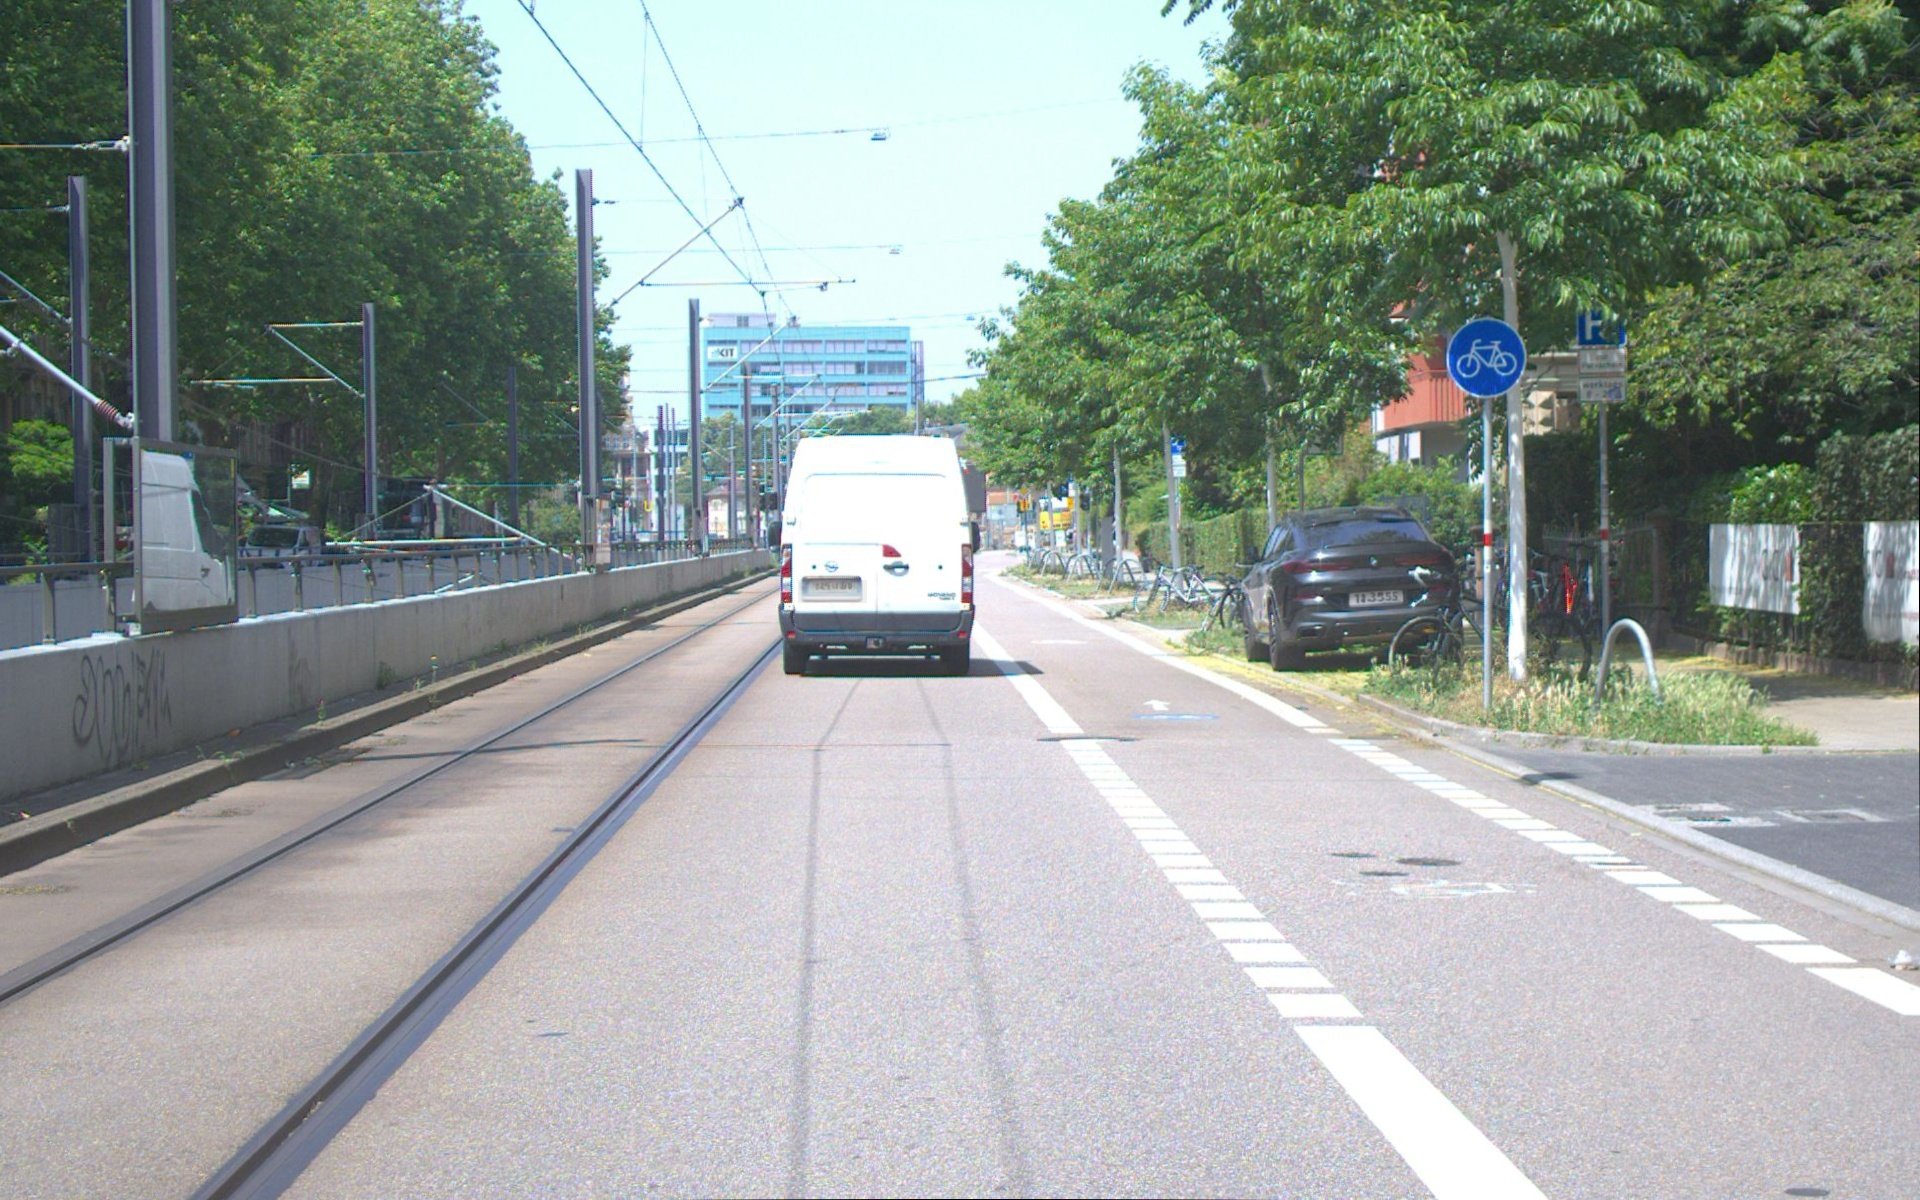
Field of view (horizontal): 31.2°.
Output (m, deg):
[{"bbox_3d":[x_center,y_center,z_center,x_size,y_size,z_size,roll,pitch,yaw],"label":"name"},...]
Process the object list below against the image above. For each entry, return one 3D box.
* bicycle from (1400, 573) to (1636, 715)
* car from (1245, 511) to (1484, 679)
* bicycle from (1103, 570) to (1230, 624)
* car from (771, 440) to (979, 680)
[{"bbox_3d":[4.719,0.366,29.136,1.887,1.178,0.640,0,1,-2],"label":"bicycle"},{"bbox_3d":[4.326,-0.092,37.347,2.157,1.664,4.000,-2,1,1],"label":"car"},{"bbox_3d":[3.496,-0.070,57.633,1.560,0.823,3.998,0,1,12],"label":"bicycle"},{"bbox_3d":[-0.960,-0.466,37.765,2.117,2.450,5.055,0,1,-2],"label":"car"}]
